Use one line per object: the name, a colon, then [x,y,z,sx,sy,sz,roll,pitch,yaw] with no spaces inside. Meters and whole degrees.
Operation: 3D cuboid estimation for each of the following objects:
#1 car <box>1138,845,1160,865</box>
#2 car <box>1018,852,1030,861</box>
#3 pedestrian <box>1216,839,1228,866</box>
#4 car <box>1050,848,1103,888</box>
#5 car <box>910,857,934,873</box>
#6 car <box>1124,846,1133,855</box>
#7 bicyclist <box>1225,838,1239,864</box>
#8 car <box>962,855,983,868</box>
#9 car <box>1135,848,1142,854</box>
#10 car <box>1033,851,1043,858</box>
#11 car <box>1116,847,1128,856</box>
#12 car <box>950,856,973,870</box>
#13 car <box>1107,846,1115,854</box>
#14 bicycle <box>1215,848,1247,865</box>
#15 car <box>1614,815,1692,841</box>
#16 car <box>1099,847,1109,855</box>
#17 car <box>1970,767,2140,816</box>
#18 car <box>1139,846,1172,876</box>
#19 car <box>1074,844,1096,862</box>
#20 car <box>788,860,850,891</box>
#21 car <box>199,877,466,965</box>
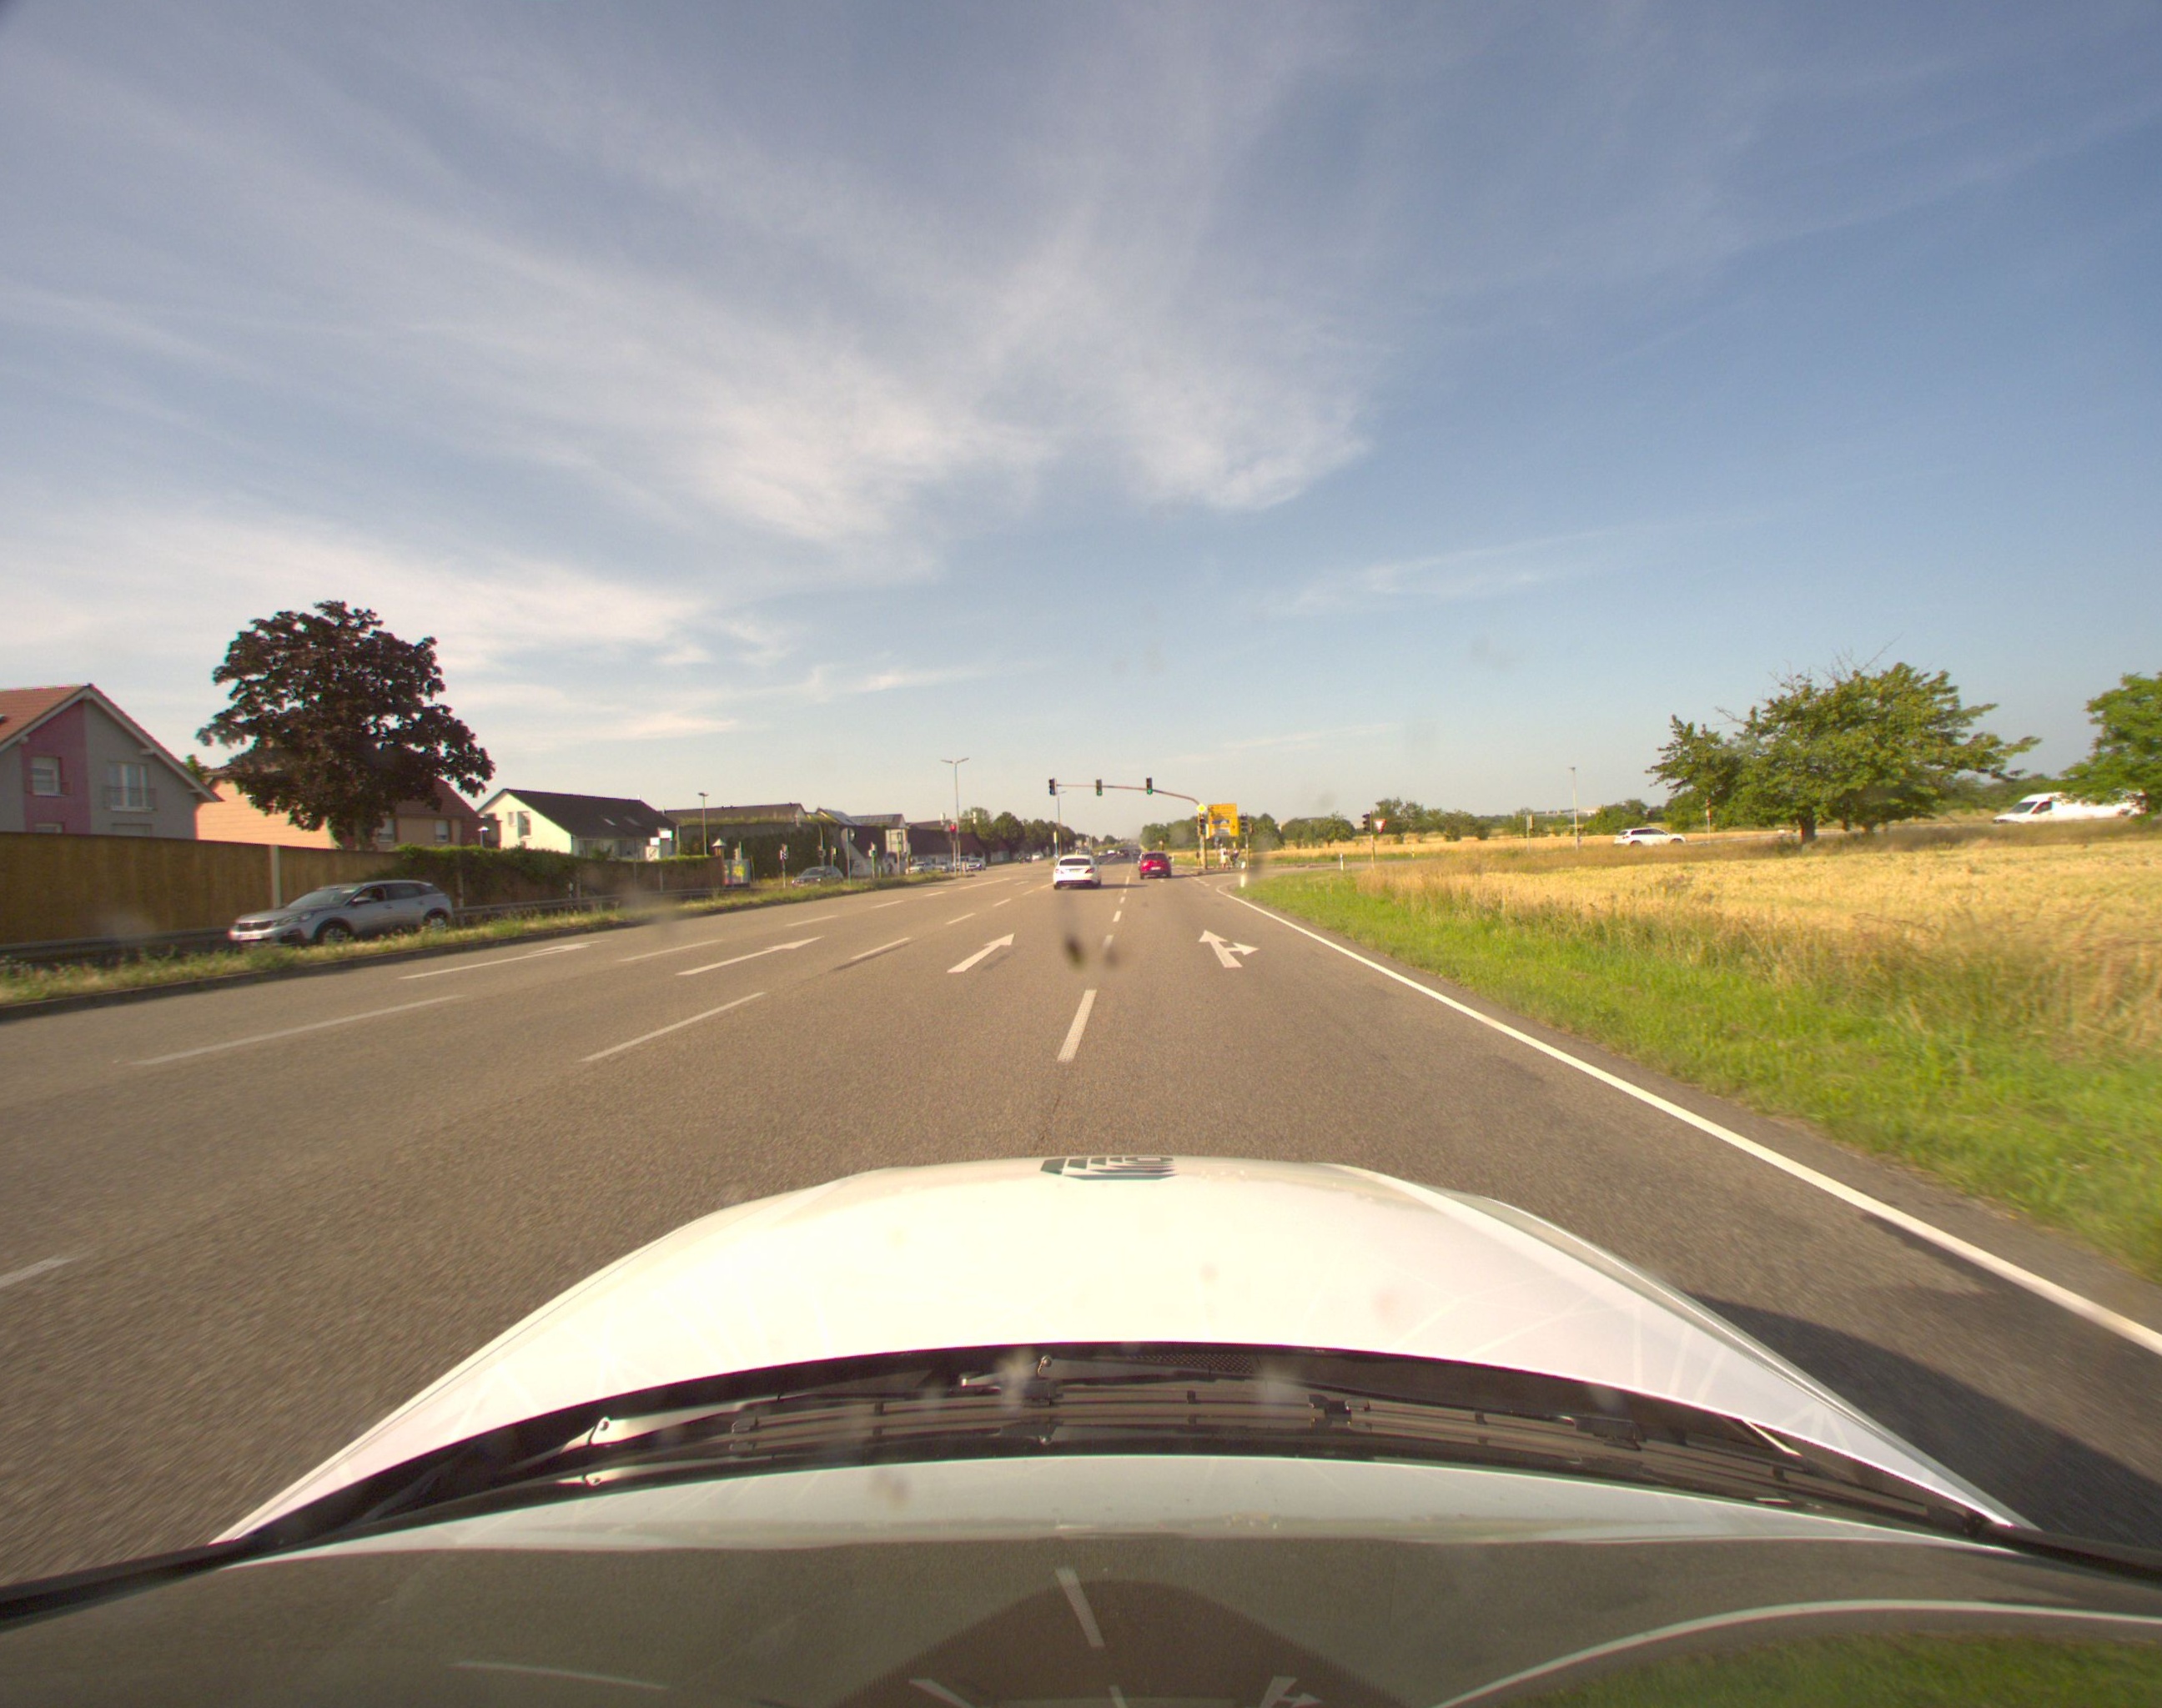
car: [5.530,0.034,65.866,1.721,1.530,3.479,-1,1,5]
car: [-9.853,0.465,140.778,1.816,1.508,3.798,-1,1,1]
pedestrian: [9.190,-0.104,52.957,0.706,1.751,0.864,-1,0,6]
car: [-0.127,0.558,34.800,1.886,1.508,4.005,-2,1,4]
car: [-17.792,1.185,91.125,1.883,1.618,3.857,-1,1,1]
car: [9.662,-0.728,166.135,1.703,1.736,3.871,-1,1,4]
bicyclist: [10.227,-0.224,55.069,0.844,1.755,0.800,-1,0,5]
car: [-12.517,0.820,94.068,1.777,1.437,4.358,-1,1,1]
car: [12.167,-0.707,173.469,1.433,1.284,2.918,-1,1,5]
car: [-9.068,0.080,171.881,1.987,1.497,4.001,-1,1,1]
car: [7.326,-0.451,143.696,1.829,1.684,4.008,-1,1,7]
car: [-15.281,1.096,104.581,1.988,1.687,4.580,-1,1,4]
car: [7.115,-0.955,193.095,1.770,1.665,3.664,-1,1,1]
bicycle: [10.149,0.185,55.097,2.084,1.088,0.809,-1,0,7]
car: [38.619,-1.726,55.075,3.959,1.598,1.867,-1,0,13]
car: [4.574,-0.520,160.699,1.709,1.492,3.589,-1,1,5]
car: [63.196,-3.988,53.009,6.963,2.795,2.330,-1,0,16]
car: [4.206,0.370,46.052,1.746,1.516,4.006,-3,0,5]
car: [0.496,-0.163,94.829,2.015,1.891,4.966,-1,1,5]
car: [-15.305,1.213,47.867,1.714,1.628,4.665,-1,1,5]
car: [-17.631,1.482,19.583,1.968,1.665,4.594,-1,1,3]
